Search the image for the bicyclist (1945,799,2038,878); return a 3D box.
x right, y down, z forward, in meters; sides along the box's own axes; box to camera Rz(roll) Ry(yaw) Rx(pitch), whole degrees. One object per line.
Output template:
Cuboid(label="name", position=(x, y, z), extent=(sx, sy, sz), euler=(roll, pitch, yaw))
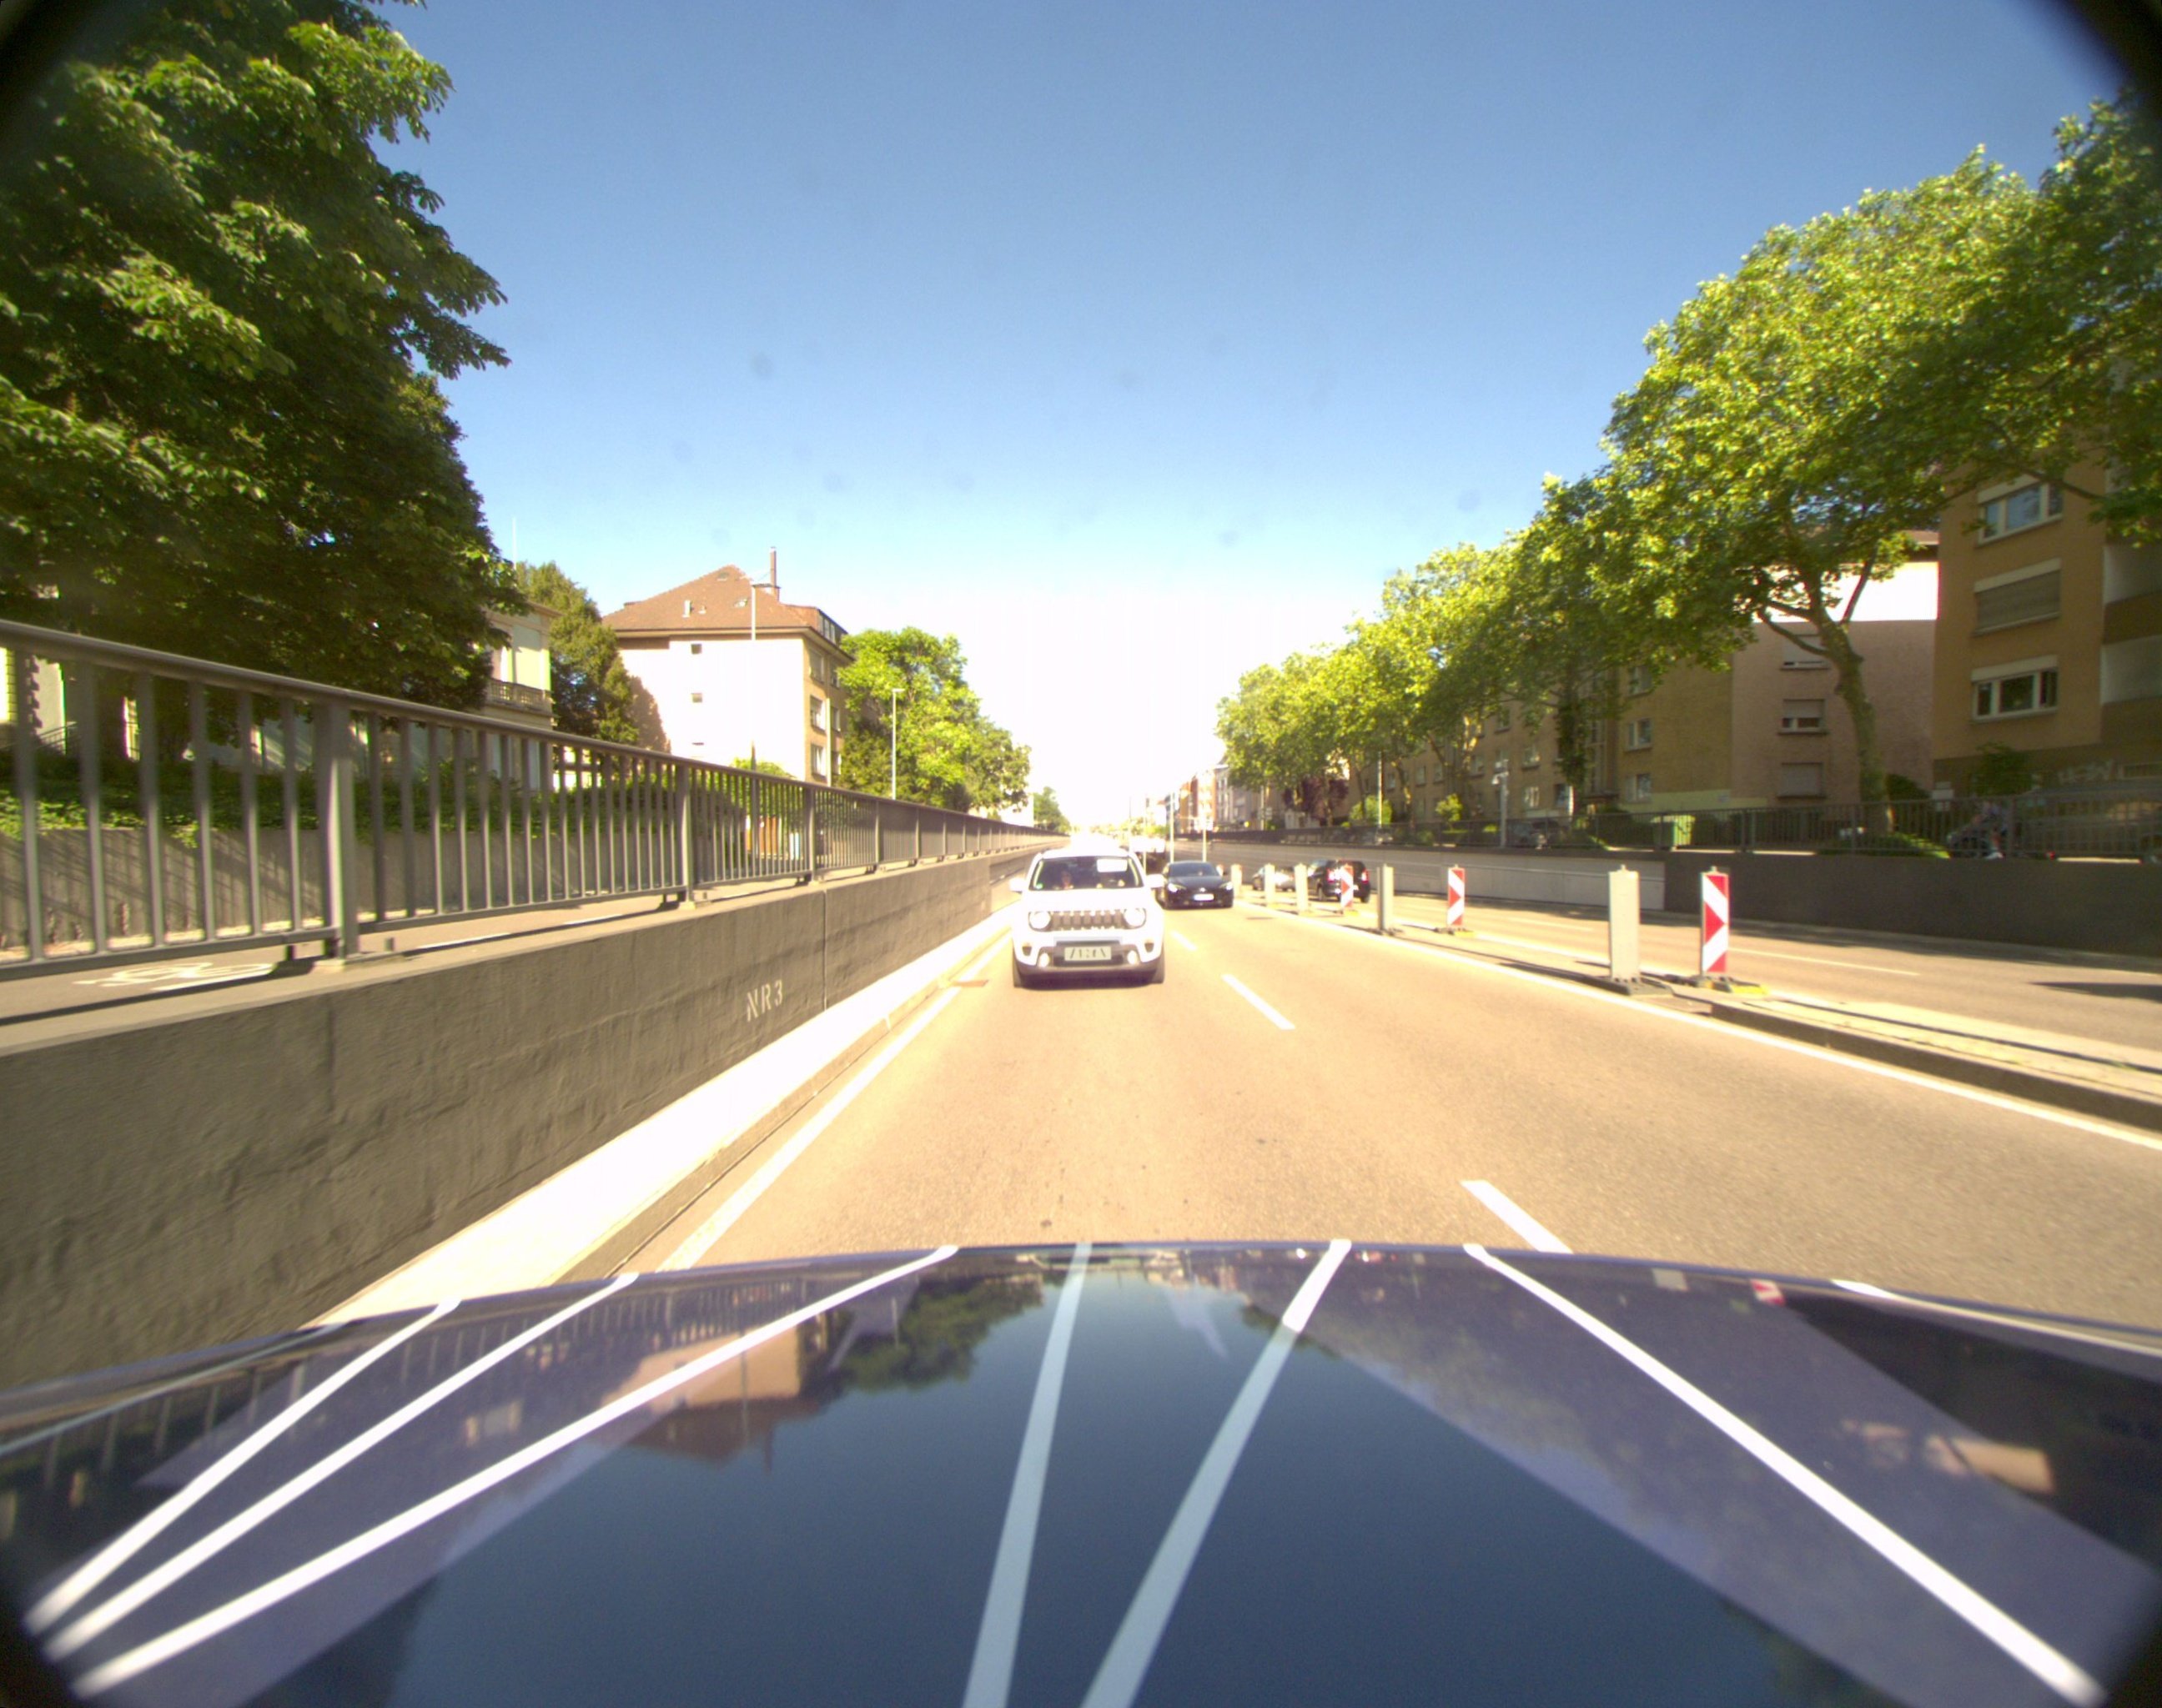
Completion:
Cuboid(label="bicyclist", position=(19.829, -0.335, 16.570), extent=(0.777, 1.624, 1.022), euler=(-2, 1, -3))

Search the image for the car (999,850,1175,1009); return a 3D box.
Cuboid(label="car", position=(0.083, 0.835, 10.252), extent=(1.855, 1.658, 3.970), euler=(-2, 0, 1))

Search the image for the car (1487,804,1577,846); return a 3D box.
Cuboid(label="car", position=(22.892, -1.428, 38.765), extent=(1.970, 1.949, 4.413), euler=(-2, 1, 1))

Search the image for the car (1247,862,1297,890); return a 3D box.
Cuboid(label="car", position=(9.702, 1.095, 38.855), extent=(1.542, 1.292, 3.928), euler=(2, -1, 0))

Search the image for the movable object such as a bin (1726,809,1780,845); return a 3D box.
Cuboid(label="movable object such as a bin", position=(28.808, -1.141, 32.595), extent=(1.317, 1.475, 1.147), euler=(-2, 1, -2))

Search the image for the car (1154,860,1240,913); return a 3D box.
Cuboid(label="car", position=(3.449, 0.922, 23.311), extent=(1.998, 1.407, 4.000), euler=(-2, 0, 1))

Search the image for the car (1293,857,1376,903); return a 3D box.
Cuboid(label="car", position=(8.661, 0.856, 26.217), extent=(1.613, 1.449, 3.608), euler=(1, -1, 0))

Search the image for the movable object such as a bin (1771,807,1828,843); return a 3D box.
Cuboid(label="movable object such as a bin", position=(30.570, -1.220, 32.353), extent=(1.317, 1.475, 1.147), euler=(-2, 1, -2))

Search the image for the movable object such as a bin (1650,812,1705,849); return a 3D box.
Cuboid(label="movable object such as a bin", position=(25.160, -0.991, 32.083), extent=(1.209, 1.475, 1.357), euler=(-2, 1, -7))

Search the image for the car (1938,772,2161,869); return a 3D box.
Cuboid(label="car", position=(22.623, -0.726, 16.881), extent=(1.971, 1.949, 4.526), euler=(-2, 1, -1))

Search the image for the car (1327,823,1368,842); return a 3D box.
Cuboid(label="car", position=(23.317, -1.860, 66.677), extent=(1.926, 1.575, 4.303), euler=(-2, 1, -1))

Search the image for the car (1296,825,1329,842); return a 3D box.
Cuboid(label="car", position=(23.193, -2.019, 76.271), extent=(1.926, 1.575, 4.303), euler=(-2, 1, -1))

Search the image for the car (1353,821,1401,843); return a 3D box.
Cuboid(label="car", position=(22.725, -1.692, 58.536), extent=(1.926, 1.575, 4.303), euler=(-2, 1, -1))

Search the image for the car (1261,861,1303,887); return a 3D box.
Cuboid(label="car", position=(12.294, 1.204, 46.688), extent=(1.542, 1.456, 3.717), euler=(2, 0, 0))

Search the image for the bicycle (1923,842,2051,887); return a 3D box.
Cuboid(label="bicycle", position=(19.846, 0.210, 16.703), extent=(0.658, 0.922, 1.757), euler=(-2, 1, -3))
